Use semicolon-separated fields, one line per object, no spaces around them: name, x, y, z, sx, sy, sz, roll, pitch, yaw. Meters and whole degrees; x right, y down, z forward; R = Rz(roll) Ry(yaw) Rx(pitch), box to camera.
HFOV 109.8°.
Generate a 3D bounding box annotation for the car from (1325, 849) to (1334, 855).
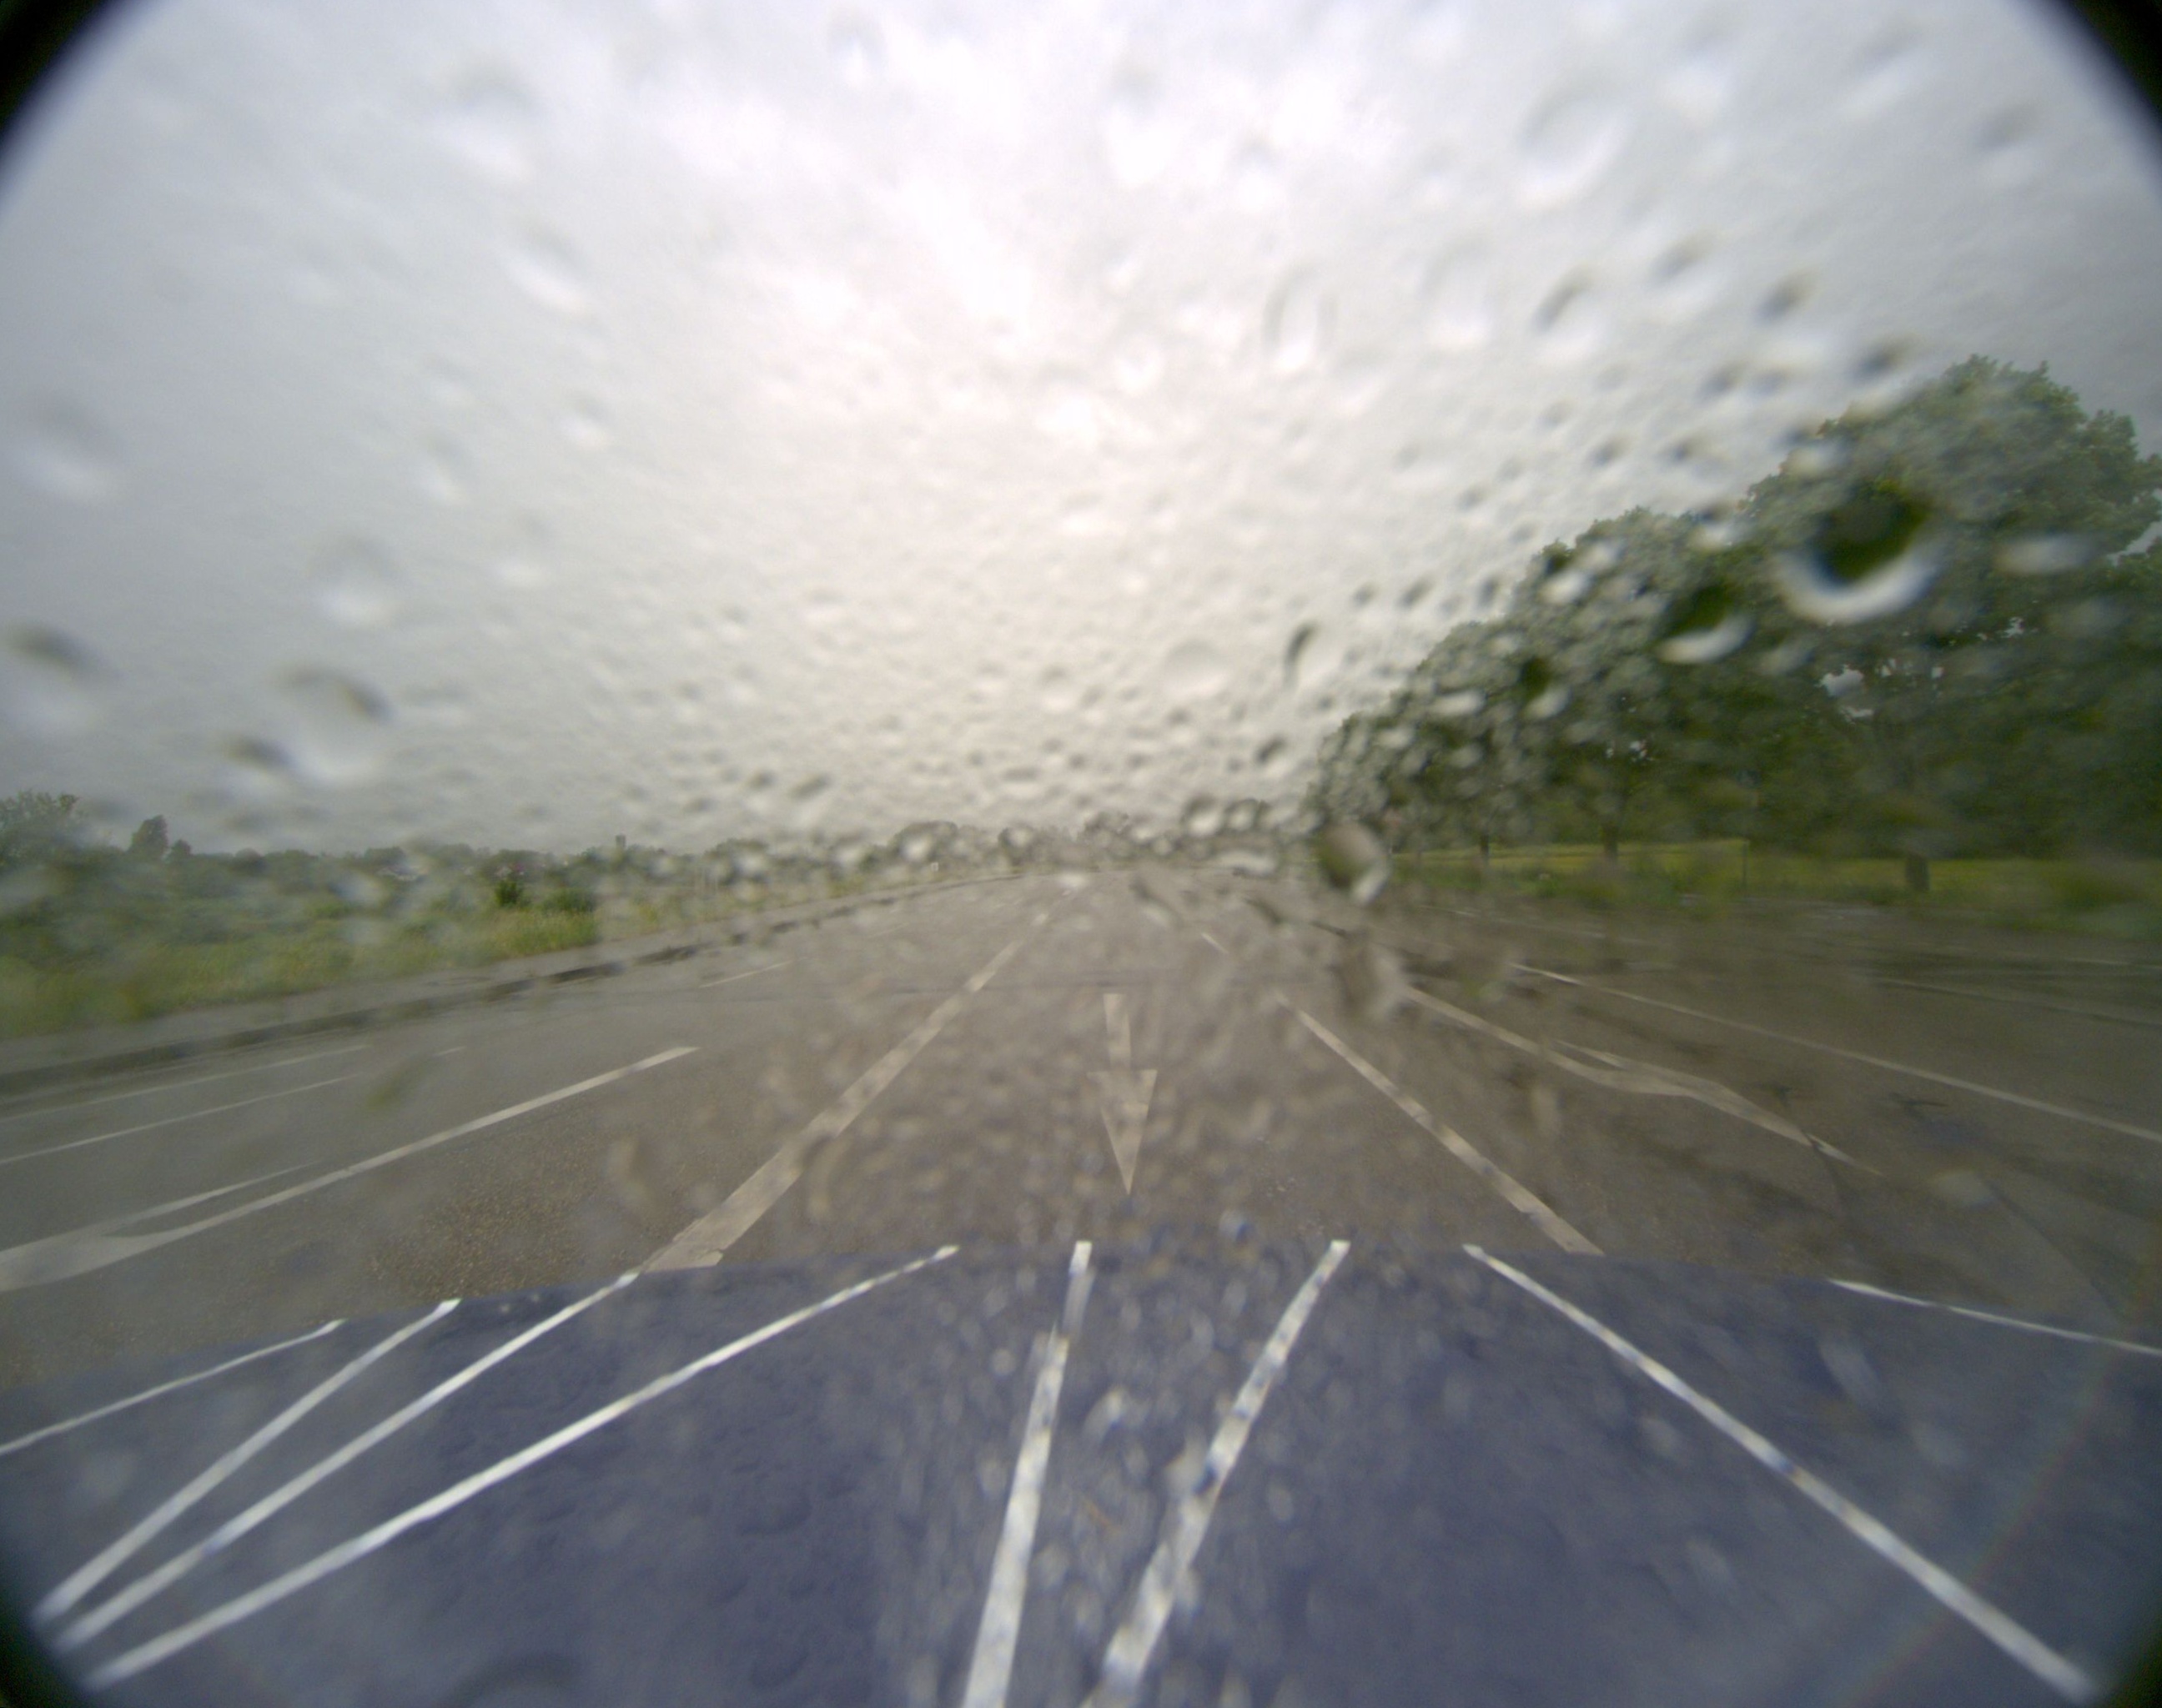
car;69.256;-0.512;211.776;1.880;1.564;4.652;1;1;23
